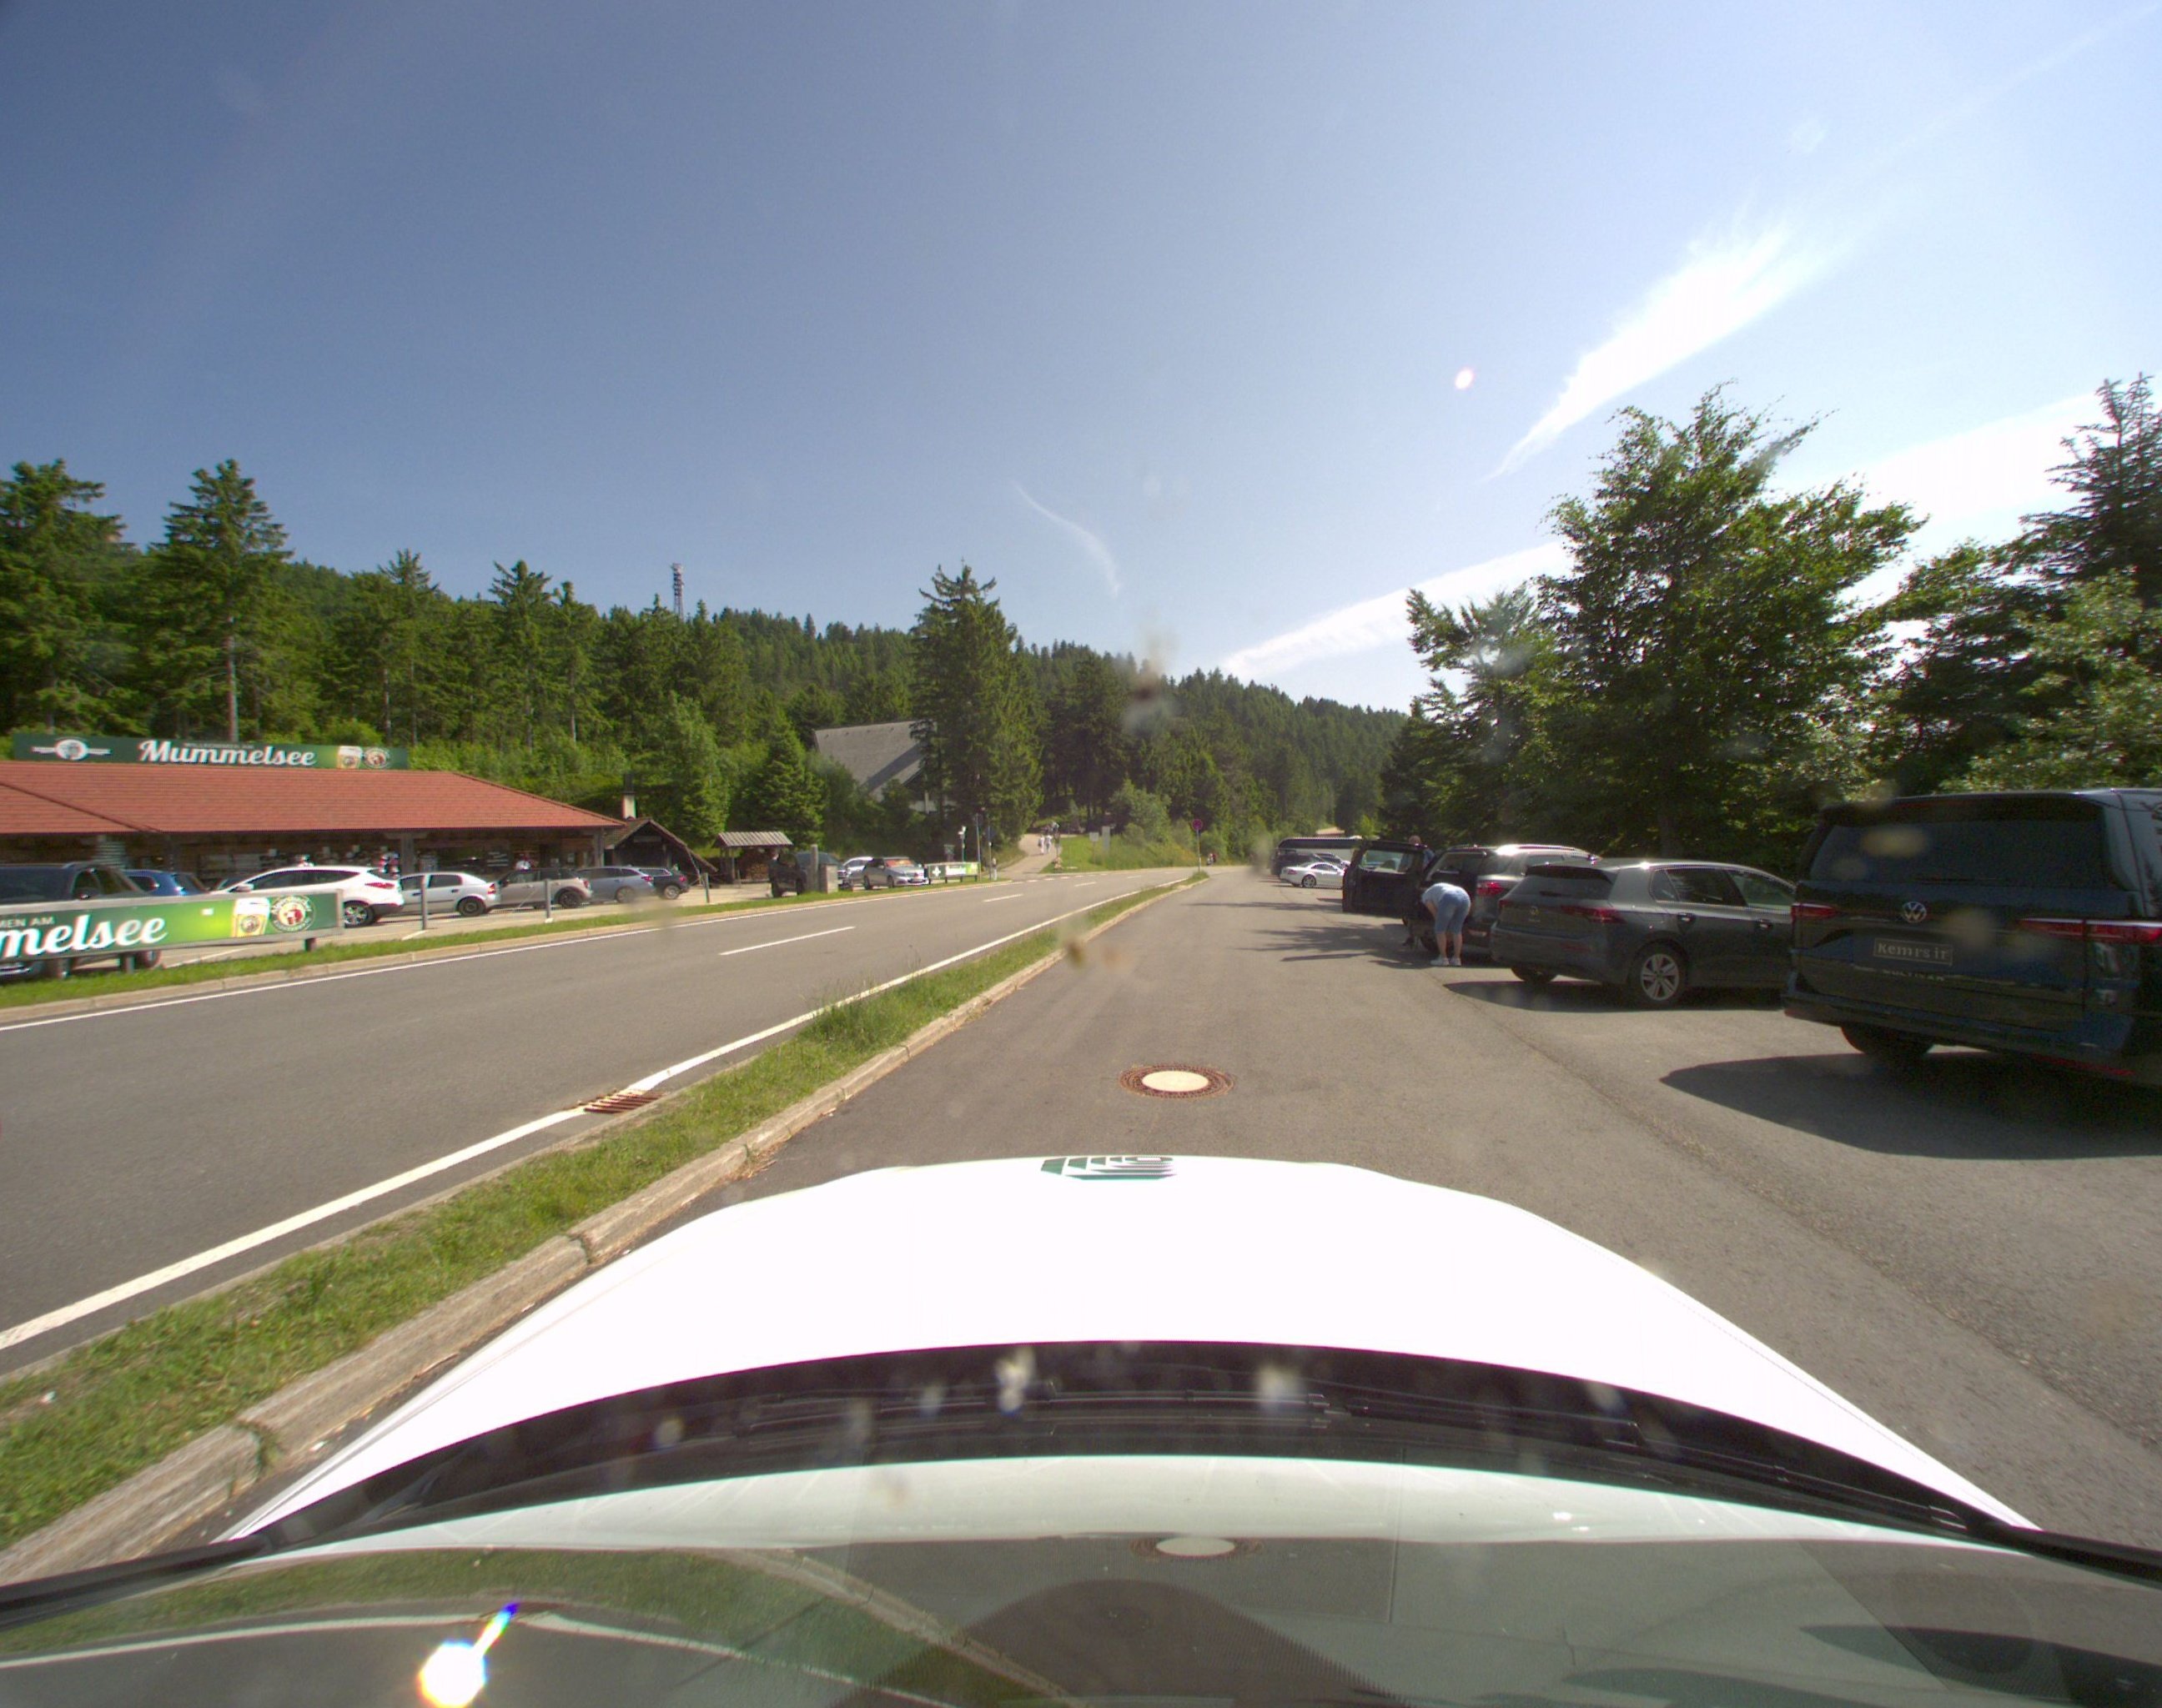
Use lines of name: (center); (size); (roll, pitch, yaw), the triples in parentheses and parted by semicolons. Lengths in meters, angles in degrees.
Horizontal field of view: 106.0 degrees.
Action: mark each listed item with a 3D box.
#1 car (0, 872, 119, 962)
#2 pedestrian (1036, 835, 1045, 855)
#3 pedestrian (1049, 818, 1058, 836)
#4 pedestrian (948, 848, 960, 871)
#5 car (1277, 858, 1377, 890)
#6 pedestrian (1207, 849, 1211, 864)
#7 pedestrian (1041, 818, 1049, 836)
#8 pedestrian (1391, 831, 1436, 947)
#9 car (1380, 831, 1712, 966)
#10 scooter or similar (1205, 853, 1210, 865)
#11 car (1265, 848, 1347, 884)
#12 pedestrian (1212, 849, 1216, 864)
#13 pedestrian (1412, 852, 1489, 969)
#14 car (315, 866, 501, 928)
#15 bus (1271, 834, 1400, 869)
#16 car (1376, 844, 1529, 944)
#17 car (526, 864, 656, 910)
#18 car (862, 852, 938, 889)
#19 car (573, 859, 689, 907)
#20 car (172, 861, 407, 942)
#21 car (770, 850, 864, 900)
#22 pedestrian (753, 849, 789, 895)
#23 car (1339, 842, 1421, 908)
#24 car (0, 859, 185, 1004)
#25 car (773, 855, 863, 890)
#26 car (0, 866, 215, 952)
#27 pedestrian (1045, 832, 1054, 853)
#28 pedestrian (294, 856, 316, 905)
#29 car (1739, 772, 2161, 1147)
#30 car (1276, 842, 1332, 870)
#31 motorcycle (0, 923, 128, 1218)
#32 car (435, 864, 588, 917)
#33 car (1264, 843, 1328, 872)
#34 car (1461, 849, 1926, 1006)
car: (-21.085, 1.239, 14.910); (4.016, 1.574, 1.979); (-3, 1, -34)
pedestrian: (-3.422, -0.726, 69.089); (0.649, 1.667, 0.644); (-2, -2, 5)
pedestrian: (-3.117, -3.076, 91.921); (0.812, 2.013, 0.854); (-2, 1, 3)
pedestrian: (-8.535, 0.375, 54.901); (0.573, 1.532, 0.554); (-2, 1, 11)
car: (12.153, 0.982, 40.415); (4.446, 1.298, 1.579); (3, 1, -6)
pedestrian: (15.317, 0.340, 97.694); (0.412, 1.747, 0.458); (-2, 1, 11)
pedestrian: (-4.049, -3.066, 91.625); (0.794, 2.013, 0.941); (-2, 1, 3)
pedestrian: (5.278, 0.537, 12.920); (0.573, 1.760, 0.637); (2, 0, 26)
car: (6.741, 0.633, 11.947); (3.996, 1.662, 1.989); (3, 0, -17)
scooter or similar: (15.094, 0.573, 97.073); (0.480, 1.379, 0.820); (-2, 1, 11)
car: (12.433, 0.663, 45.210); (3.970, 1.699, 2.002); (3, 2, 3)
pedestrian: (15.905, 0.317, 97.495); (0.392, 1.747, 0.407); (-2, 1, 13)
pedestrian: (4.677, 0.699, 10.348); (0.767, 1.402, 0.672); (-2, 1, 17)
car: (-19.740, 1.220, 24.148); (4.043, 1.468, 1.757); (-4, 0, -35)
bus: (27.047, -0.281, 86.866); (12.740, 3.577, 3.000); (0, 2, 27)
car: (7.228, 0.691, 16.317); (1.733, 1.632, 4.321); (3, 0, 11)
car: (-18.279, 1.203, 30.509); (4.016, 1.419, 1.667); (-4, 0, -33)
car: (-7.857, 0.706, 35.094); (1.752, 1.441, 3.927); (-4, 1, -35)
car: (-18.501, 1.134, 33.505); (4.015, 1.617, 1.980); (-3, 2, -32)
car: (-20.182, 1.159, 21.043); (4.048, 1.672, 1.757); (-3, 0, -35)
car: (-9.490, 0.723, 29.055); (1.798, 1.634, 4.162); (-1, 0, -39)
pedestrian: (-12.185, 0.707, 32.032); (0.890, 1.734, 0.964); (-2, 1, 11)
car: (10.244, 0.643, 28.243); (1.893, 1.972, 4.835); (3, 1, 11)
car: (-13.412, 0.881, 10.331); (1.747, 1.567, 4.018); (-2, 1, -33)
car: (-13.291, 0.917, 41.271); (4.020, 1.494, 1.665); (-3, 3, -39)
car: (-21.803, 1.159, 17.450); (4.016, 1.574, 1.979); (-3, 1, -34)
pedestrian: (-2.675, -0.992, 69.675); (0.649, 1.799, 0.644); (-2, 0, 5)
pedestrian: (-29.928, 1.018, 31.421); (0.530, 1.873, 0.541); (-1, 0, -36)
car: (7.379, 0.562, 5.410); (4.754, 1.879, 1.961); (1, 1, -8)
car: (16.910, 0.134, 61.875); (3.960, 1.814, 1.947); (3, 3, 13)
motorcycle: (-4.983, 0.912, 2.671); (0.817, 1.177, 2.292); (-2, -1, 10)
car: (-18.910, 1.198, 27.244); (4.016, 1.419, 1.667); (-4, 0, -33)
car: (14.530, 0.197, 55.226); (3.962, 1.719, 1.874); (3, 2, 11)
car: (6.517, 0.718, 8.871); (3.987, 1.442, 1.833); (1, 1, -10)
